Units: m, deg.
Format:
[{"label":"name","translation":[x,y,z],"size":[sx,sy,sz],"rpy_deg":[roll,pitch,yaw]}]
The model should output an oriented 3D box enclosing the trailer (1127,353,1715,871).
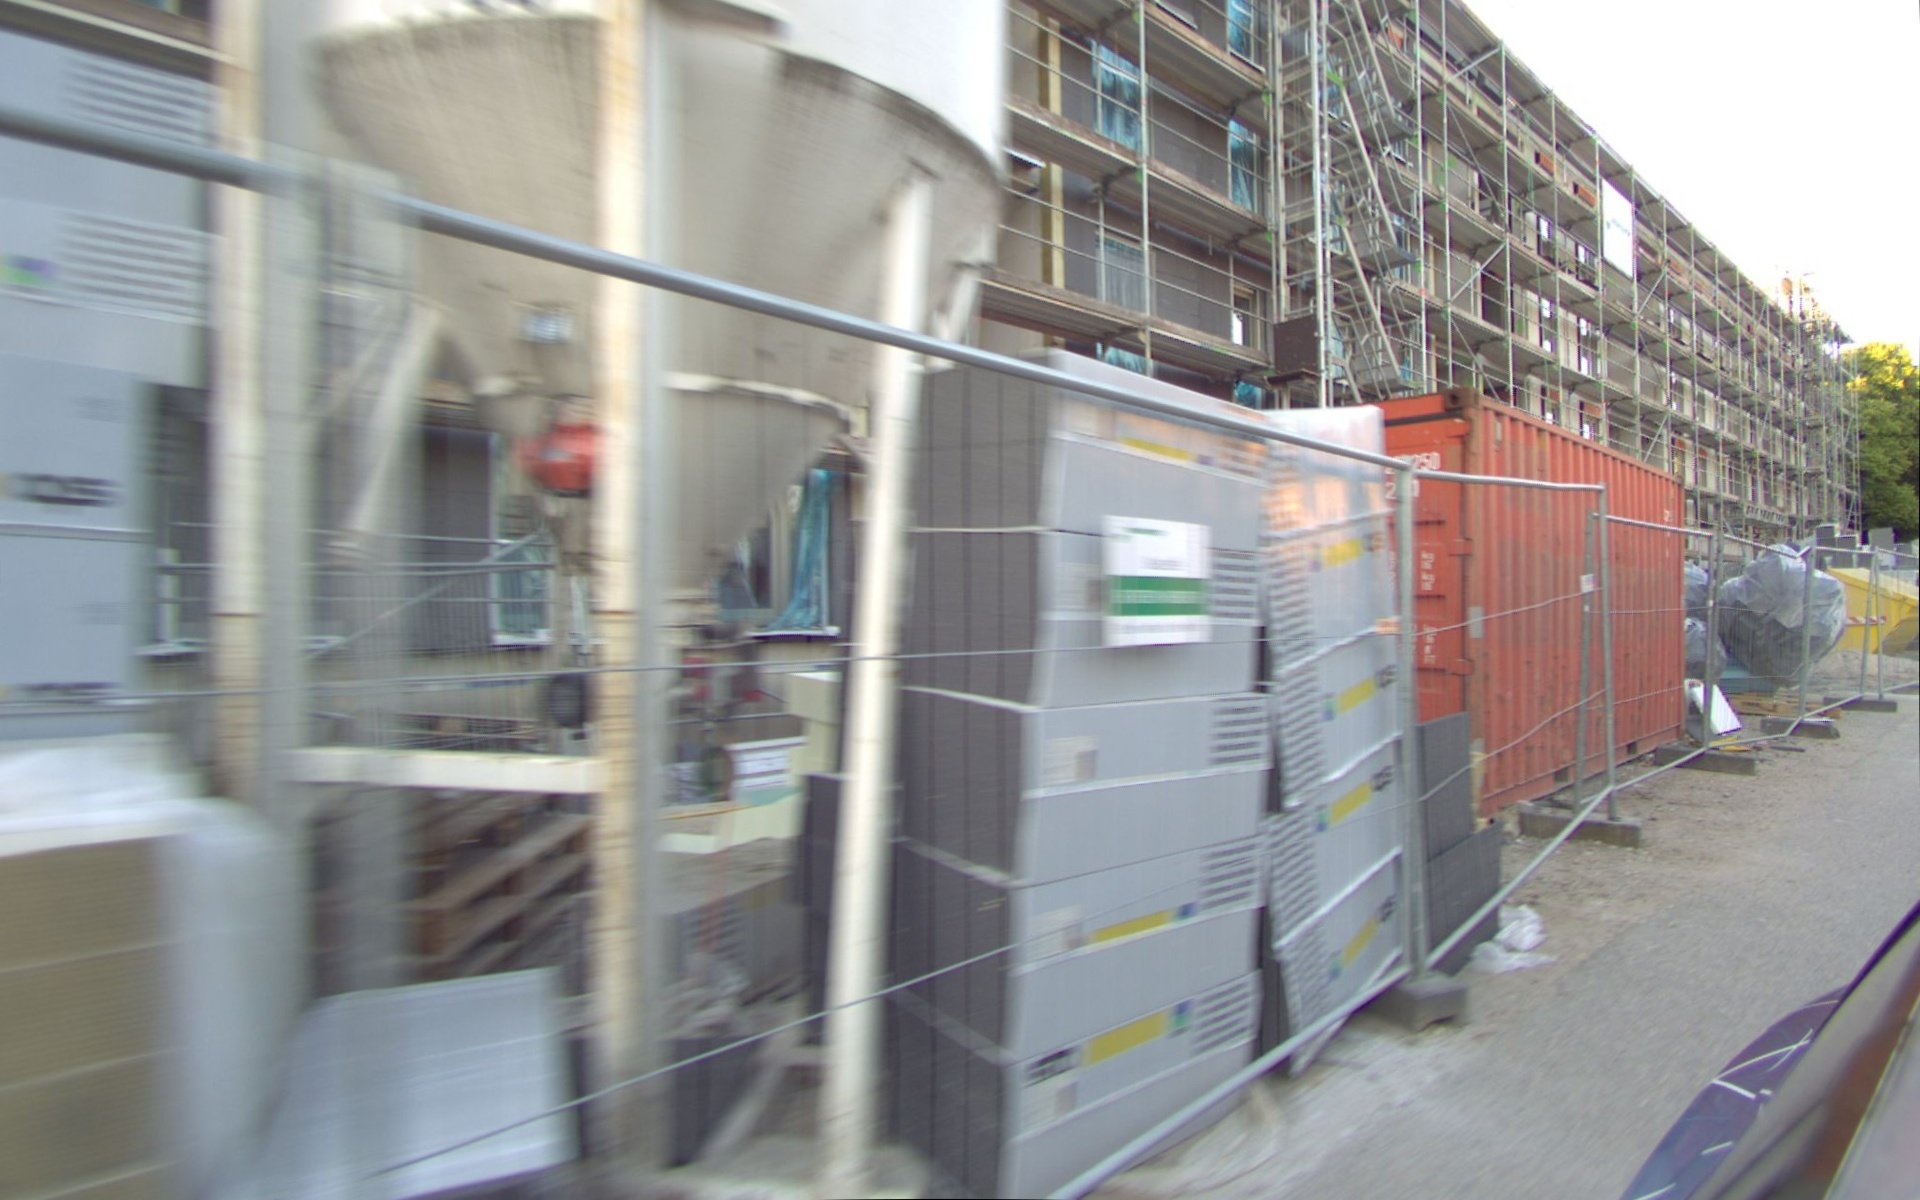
[{"label":"trailer","translation":[4.361,0.030,8.826],"size":[6.134,2.948,2.576],"rpy_deg":[-1,0,-44]}]
